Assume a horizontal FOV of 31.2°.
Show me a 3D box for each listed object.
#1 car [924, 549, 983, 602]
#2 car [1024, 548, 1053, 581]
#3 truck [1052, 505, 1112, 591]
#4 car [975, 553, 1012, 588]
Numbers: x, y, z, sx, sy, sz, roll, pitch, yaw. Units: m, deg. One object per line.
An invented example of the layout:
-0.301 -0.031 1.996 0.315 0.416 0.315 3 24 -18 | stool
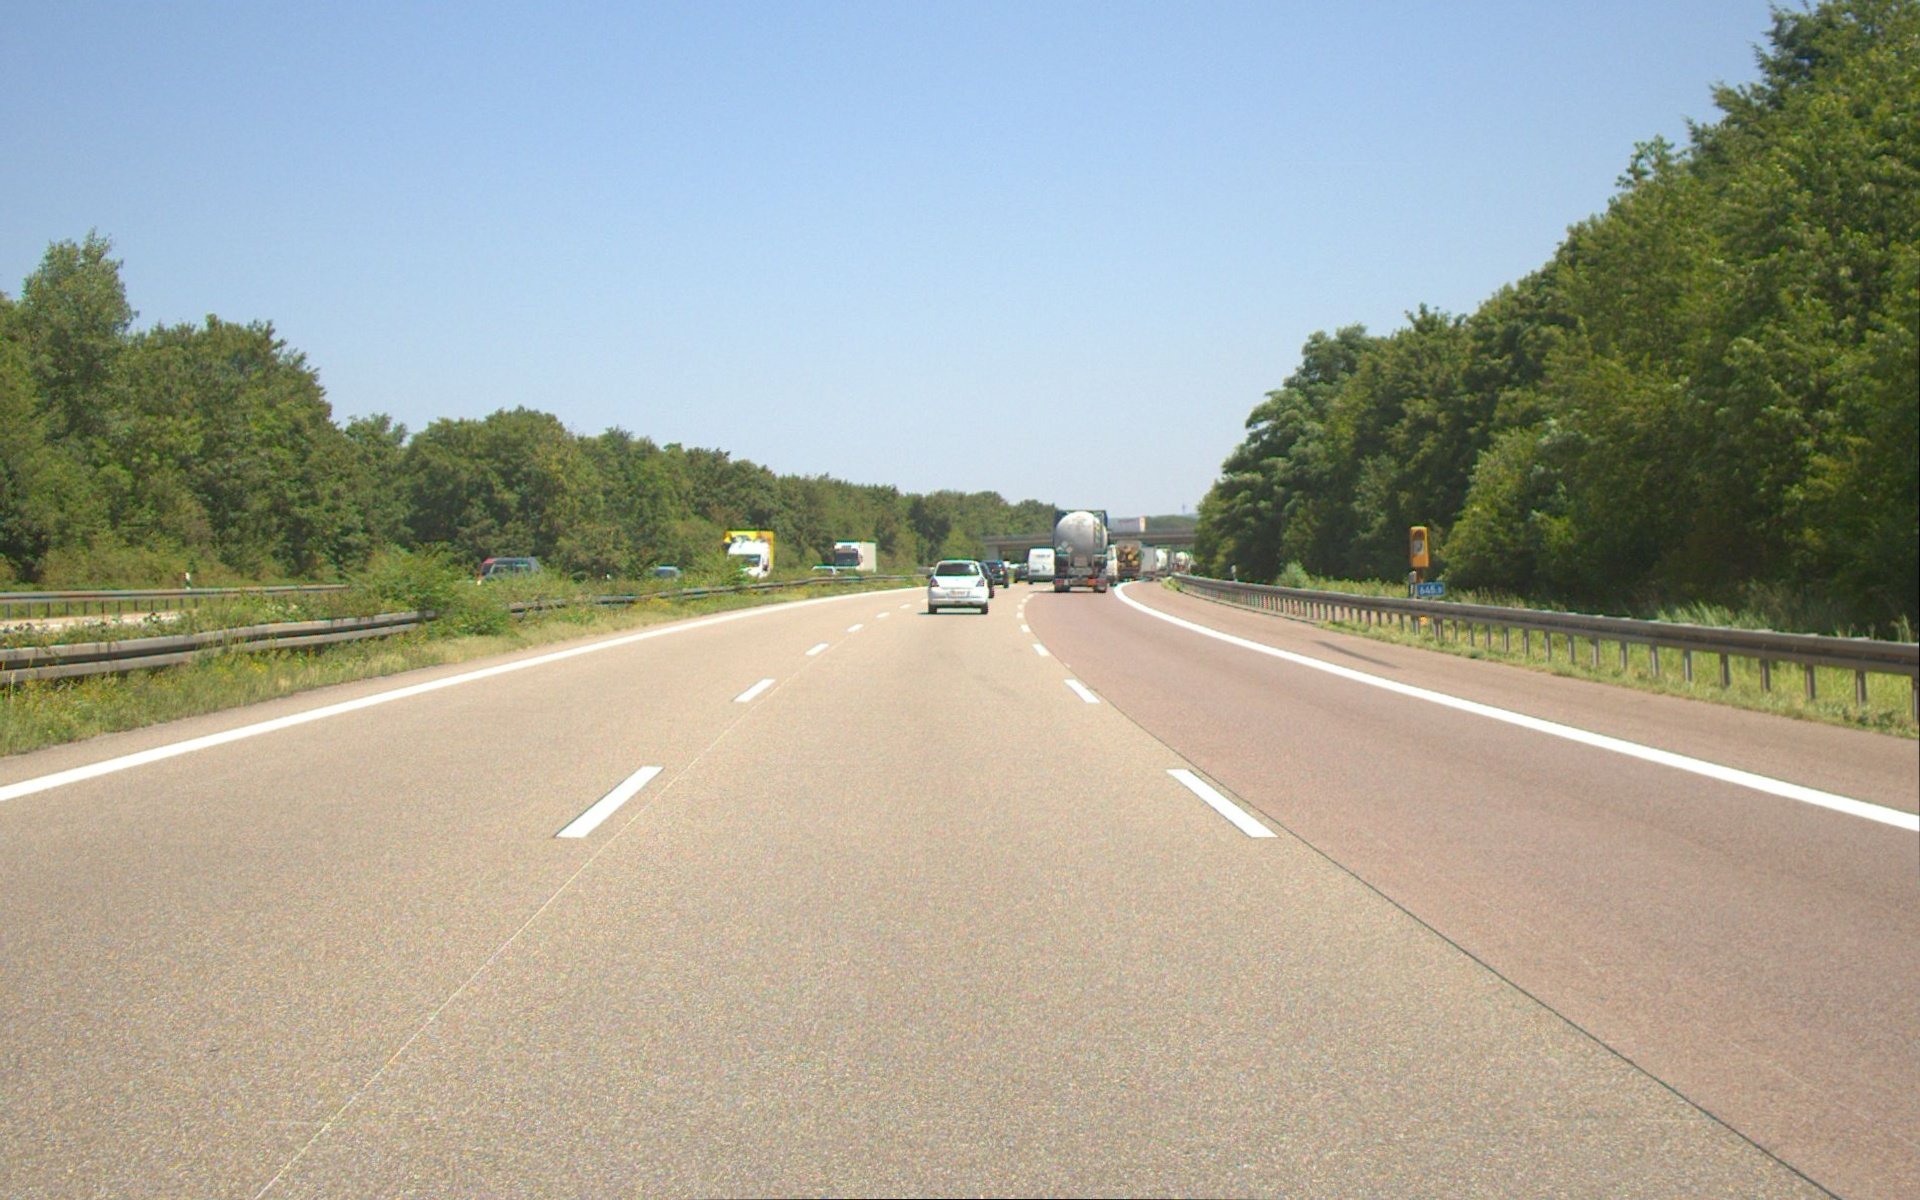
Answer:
-0.202 -0.699 97.776 1.627 1.474 4.000 0 0 0 | car
5.574 -2.516 243.322 1.994 2.335 4.387 0 1 2 | car
5.997 -2.506 168.271 2.739 4.038 10.453 0 0 3 | truck
1.973 -1.754 201.059 1.994 2.007 4.000 -1 1 2 | car
